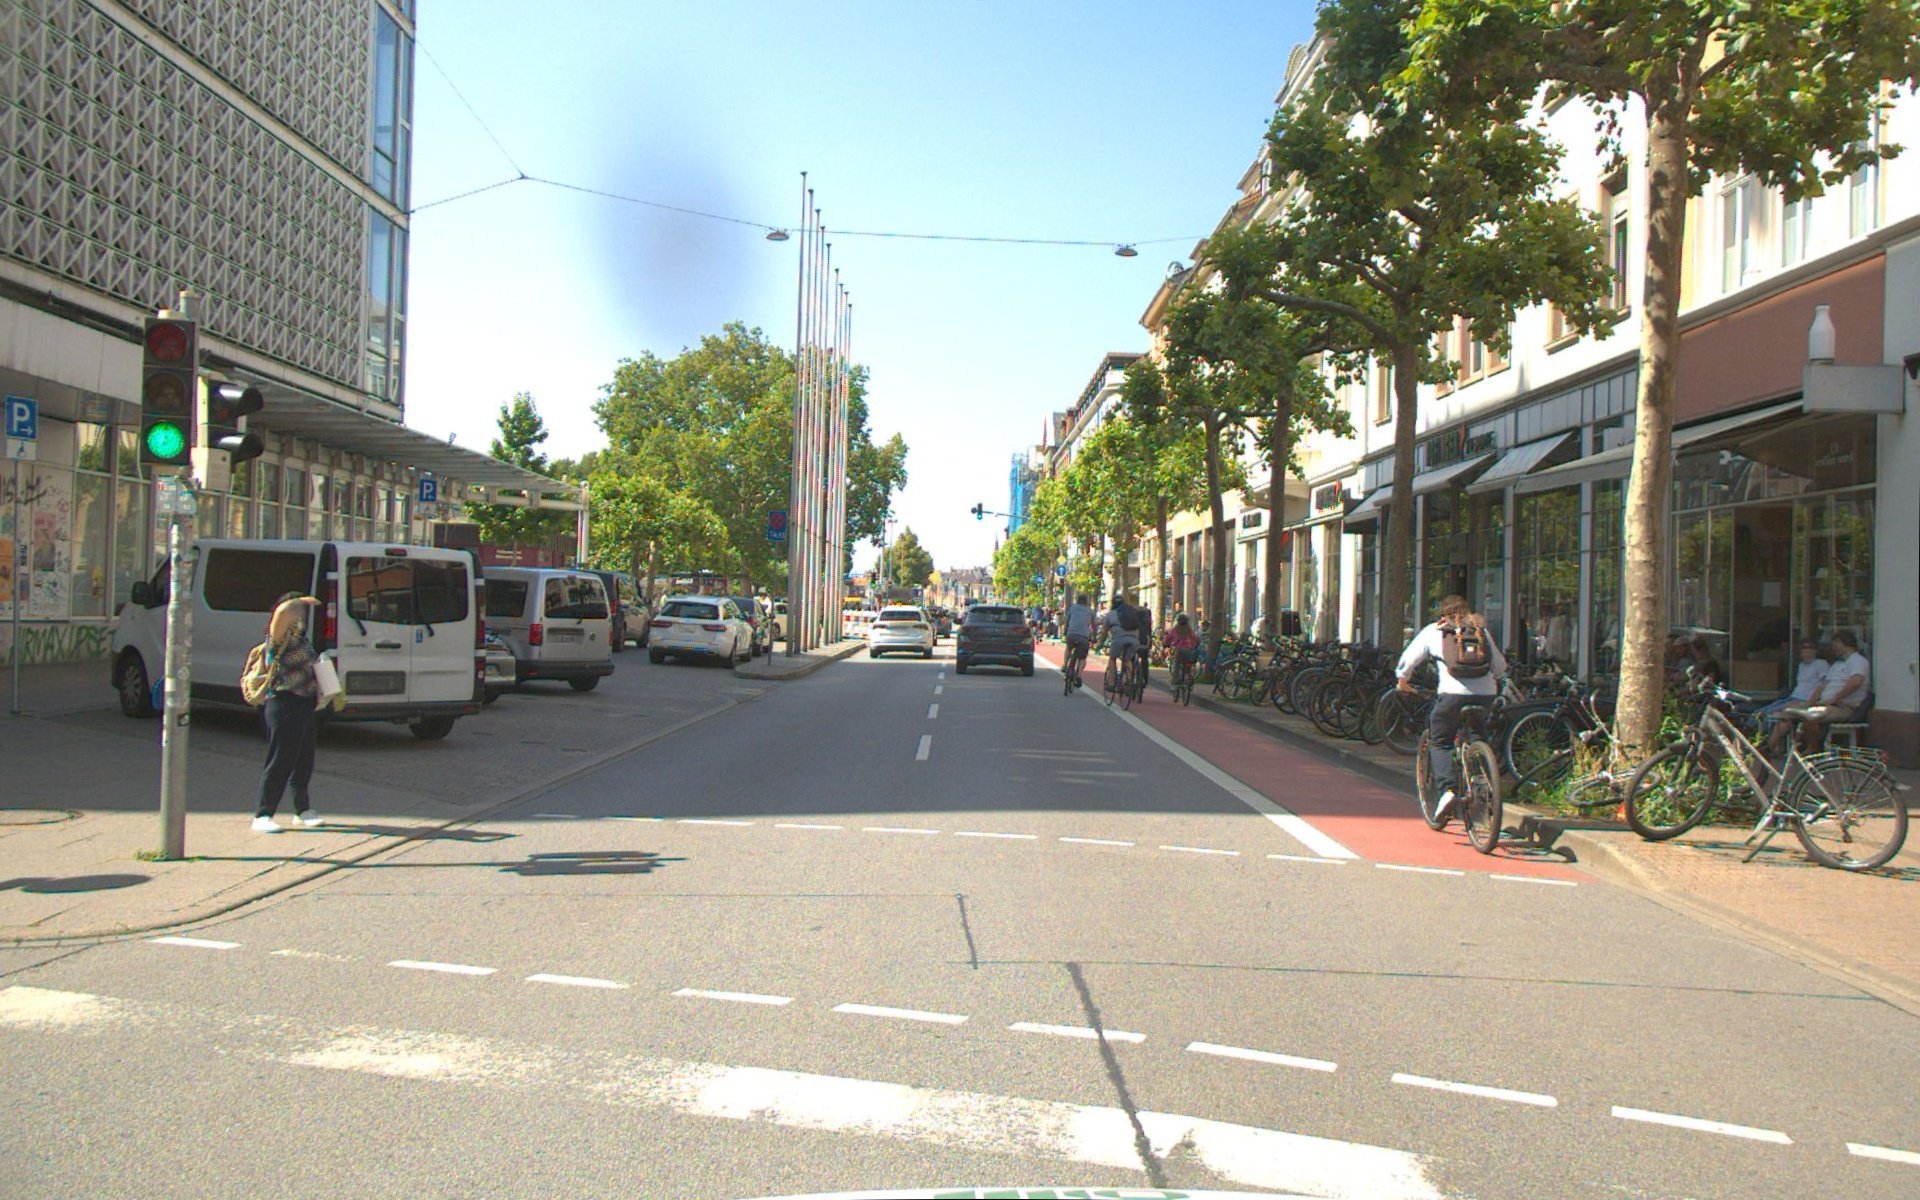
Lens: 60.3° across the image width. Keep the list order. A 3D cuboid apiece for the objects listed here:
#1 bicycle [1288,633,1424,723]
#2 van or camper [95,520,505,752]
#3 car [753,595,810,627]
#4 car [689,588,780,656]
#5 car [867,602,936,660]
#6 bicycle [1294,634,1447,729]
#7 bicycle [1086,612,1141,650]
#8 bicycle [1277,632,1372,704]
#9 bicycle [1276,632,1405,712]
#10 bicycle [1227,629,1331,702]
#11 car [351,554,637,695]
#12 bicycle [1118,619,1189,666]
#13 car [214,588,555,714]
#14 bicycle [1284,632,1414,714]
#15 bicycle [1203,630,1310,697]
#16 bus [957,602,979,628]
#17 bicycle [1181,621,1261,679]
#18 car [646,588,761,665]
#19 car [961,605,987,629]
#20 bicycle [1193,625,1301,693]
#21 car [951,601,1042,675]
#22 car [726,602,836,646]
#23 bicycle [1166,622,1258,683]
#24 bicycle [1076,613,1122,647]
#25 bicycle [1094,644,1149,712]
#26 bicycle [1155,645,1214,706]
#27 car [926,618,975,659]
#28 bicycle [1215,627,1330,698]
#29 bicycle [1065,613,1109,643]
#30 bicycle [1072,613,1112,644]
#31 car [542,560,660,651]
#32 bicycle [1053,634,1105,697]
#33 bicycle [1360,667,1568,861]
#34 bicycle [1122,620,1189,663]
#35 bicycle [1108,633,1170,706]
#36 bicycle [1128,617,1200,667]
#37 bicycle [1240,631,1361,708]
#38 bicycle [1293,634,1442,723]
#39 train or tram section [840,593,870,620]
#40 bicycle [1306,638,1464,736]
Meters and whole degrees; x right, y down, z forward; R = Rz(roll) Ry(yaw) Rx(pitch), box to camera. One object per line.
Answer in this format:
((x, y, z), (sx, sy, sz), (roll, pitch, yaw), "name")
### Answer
((5.594, 1.097, 23.439), (1.801, 1.146, 0.530), (3, -1, 12), "bicycle")
((-7.007, 0.285, 17.347), (4.574, 2.048, 1.990), (3, 0, 39), "van or camper")
((-11.869, 0.746, 110.240), (1.821, 1.989, 4.761), (1, -1, 21), "car")
((-5.784, 0.544, 42.914), (1.725, 1.628, 4.708), (2, 0, -1), "car")
((-1.635, 0.851, 47.635), (1.808, 1.587, 4.000), (1, 0, 0), "car")
((5.271, 1.044, 21.330), (1.801, 1.146, 0.680), (2, -1, 4), "bicycle")
((5.469, 1.100, 59.004), (1.891, 1.270, 0.736), (2, -1, 2), "bicycle")
((5.955, 1.112, 26.979), (1.826, 1.147, 0.442), (2, -2, -38), "bicycle")
((5.673, 1.069, 24.700), (1.801, 1.147, 0.448), (1, -2, 2), "bicycle")
((5.224, 1.068, 27.027), (1.825, 1.147, 0.586), (2, -2, -37), "bicycle")
((-7.260, 0.322, 25.608), (4.358, 1.943, 2.001), (2, 0, 37), "car")
((5.153, 1.120, 44.140), (1.801, 1.146, 0.498), (3, -1, 11), "bicycle")
((-7.596, 0.639, 21.748), (4.207, 1.309, 1.966), (3, 0, 31), "car")
((5.692, 1.066, 24.240), (1.801, 1.147, 0.448), (1, -2, 2), "bicycle")
((5.396, 1.150, 30.096), (1.807, 1.112, 0.563), (3, -1, -11), "bicycle")
((1.168, 2.325, 246.654), (2.934, 3.657, 11.741), (2, -1, -1), "bus")
((5.799, 1.119, 36.717), (1.754, 1.218, 0.572), (2, -1, -28), "bicycle")
((-5.671, 0.549, 37.117), (1.762, 1.549, 4.738), (3, 0, 0), "car")
((1.062, 1.251, 125.181), (1.808, 1.697, 3.999), (3, 0, -1), "car")
((5.300, 1.088, 30.595), (1.807, 1.146, 0.631), (4, -1, -11), "bicycle")
((0.784, 0.830, 37.803), (1.808, 1.587, 3.998), (1, 0, -2), "car")
((-6.865, 0.904, 63.948), (1.854, 1.568, 4.856), (2, 1, 27), "car")
((5.331, 1.112, 35.050), (1.806, 1.146, 0.496), (4, 1, -8), "bicycle")
((5.305, 1.137, 63.256), (1.692, 1.238, 0.477), (2, -1, 2), "bicycle")
((2.514, 1.200, 25.906), (0.617, 0.997, 2.088), (1, -1, -1), "bicycle")
((3.843, 1.284, 28.444), (0.588, 0.942, 2.086), (2, 0, -3), "bicycle")
((-0.380, 1.434, 62.744), (1.808, 1.474, 3.999), (1, 0, -1), "car")
((5.535, 1.106, 29.355), (1.808, 1.146, 0.763), (4, -2, -13), "bicycle")
((5.399, 1.189, 70.203), (1.805, 1.222, 0.608), (2, -1, 2), "bicycle")
((5.472, 1.175, 68.478), (1.615, 1.222, 0.474), (2, -1, 2), "bicycle")
((-8.728, 0.131, 40.574), (1.794, 2.049, 4.685), (2, 0, 0), "car")
((2.130, 1.166, 29.913), (0.758, 1.023, 2.329), (1, 0, 0), "bicycle")
((3.507, 1.101, 11.718), (0.684, 1.146, 2.080), (3, -1, -3), "bicycle")
((5.401, 1.149, 45.796), (1.801, 1.116, 0.794), (2, -1, 5), "bicycle")
((3.083, 1.177, 28.610), (0.684, 1.146, 2.080), (3, -1, -3), "bicycle")
((5.318, 1.077, 43.075), (1.801, 1.218, 0.674), (2, -1, 7), "bicycle")
((5.341, 1.076, 25.998), (1.805, 1.147, 0.447), (0, -2, 28), "bicycle")
((5.583, 1.067, 22.725), (1.943, 1.147, 0.762), (1, -2, 13), "bicycle")
((-13.819, 0.935, 218.895), (2.558, 3.407, 11.006), (2, 0, 3), "train or tram section")
((5.207, 1.062, 20.303), (1.802, 1.147, 0.530), (1, -2, 2), "bicycle")
